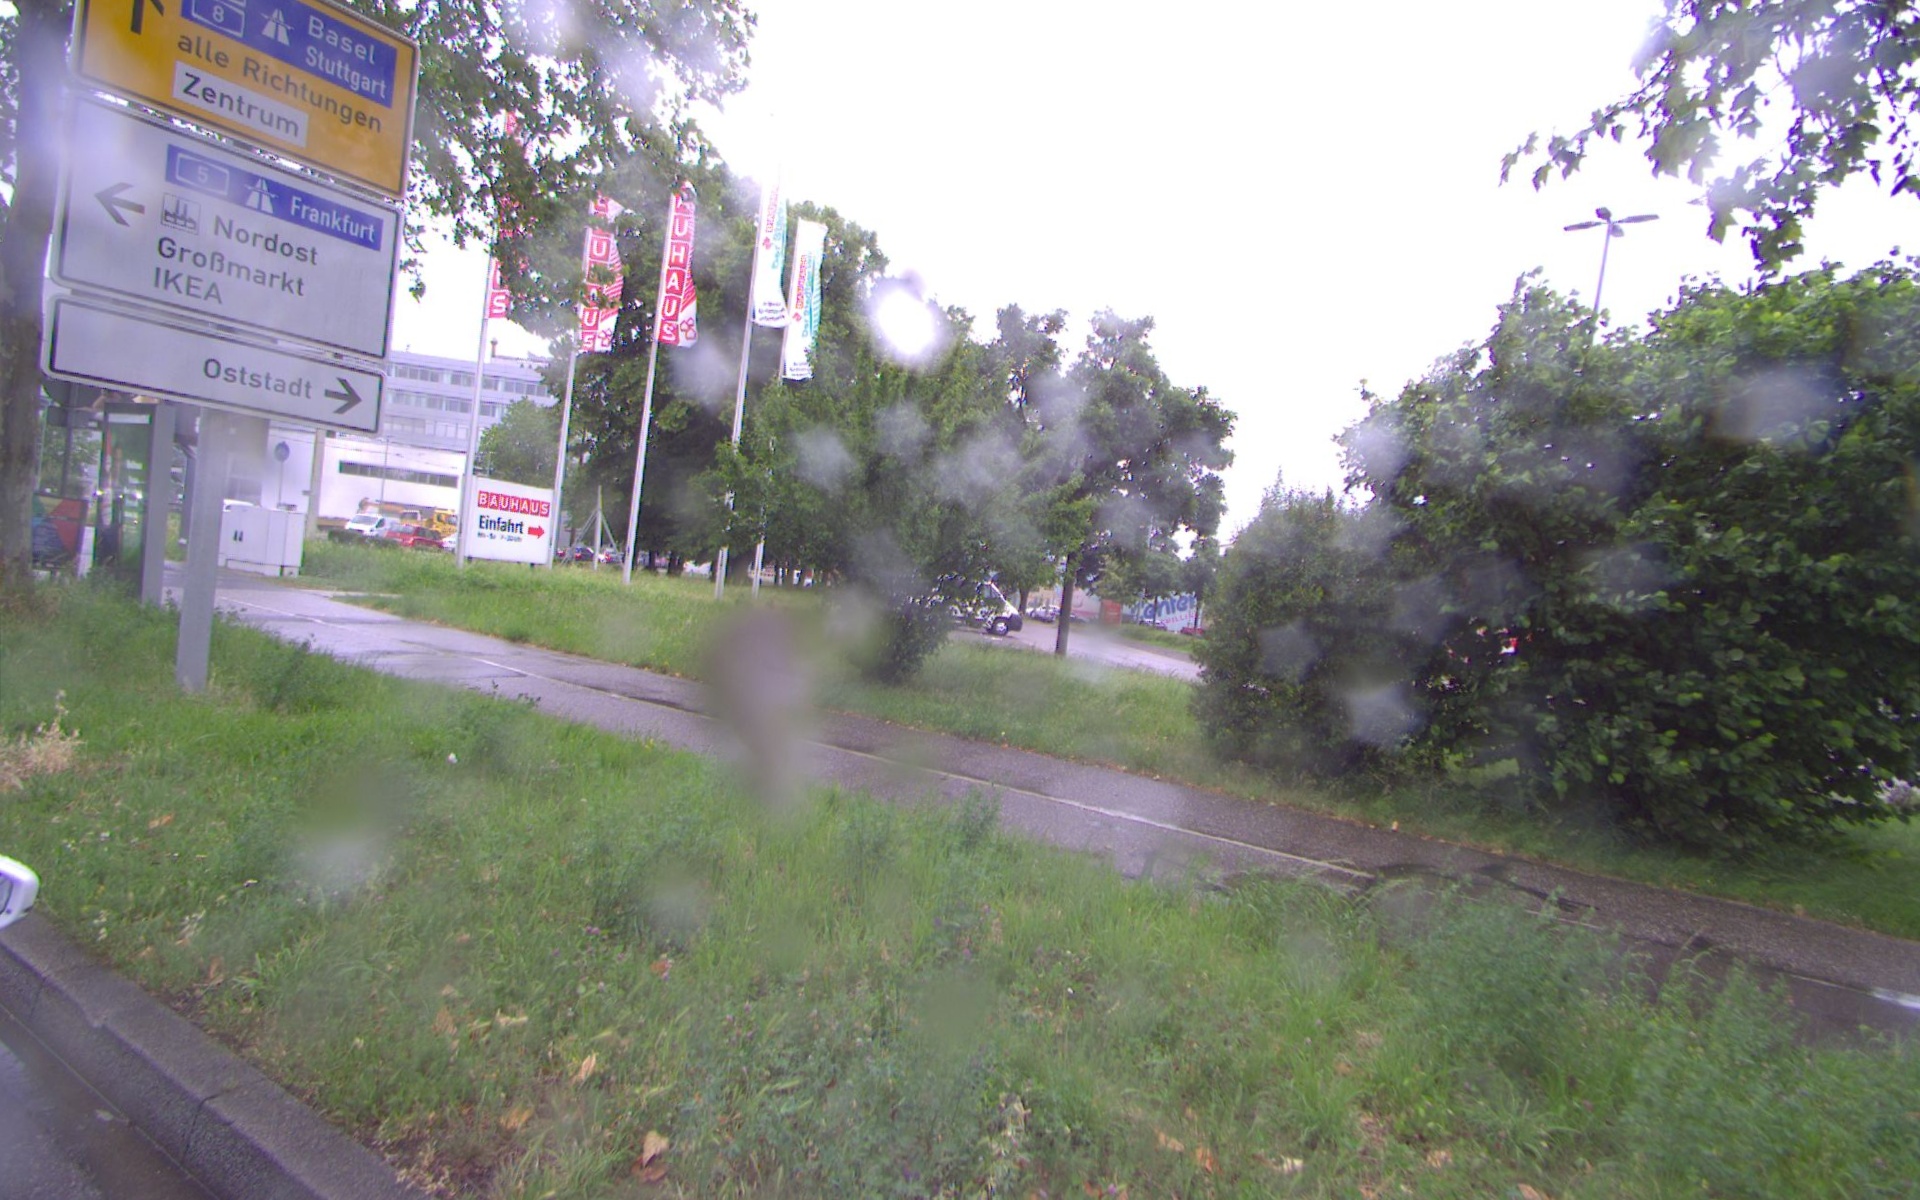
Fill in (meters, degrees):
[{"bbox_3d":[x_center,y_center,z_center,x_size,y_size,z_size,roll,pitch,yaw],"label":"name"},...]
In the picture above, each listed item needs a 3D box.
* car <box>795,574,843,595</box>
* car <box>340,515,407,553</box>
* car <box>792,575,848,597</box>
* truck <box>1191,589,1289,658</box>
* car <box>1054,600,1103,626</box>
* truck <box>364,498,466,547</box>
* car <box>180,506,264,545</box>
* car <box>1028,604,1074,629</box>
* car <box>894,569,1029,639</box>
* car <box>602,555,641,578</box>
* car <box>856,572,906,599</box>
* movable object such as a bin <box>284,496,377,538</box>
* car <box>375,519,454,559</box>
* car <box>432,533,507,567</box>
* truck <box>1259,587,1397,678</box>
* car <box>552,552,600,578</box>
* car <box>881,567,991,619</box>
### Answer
[{"bbox_3d":[-14.445,-1.614,103.162,4.552,1.606,1.922,7,0,-14],"label":"car"},{"bbox_3d":[-39.859,-4.448,68.518,1.964,2.152,4.684,6,0,-5],"label":"car"},{"bbox_3d":[-15.411,-1.584,111.072,5.853,1.754,2.276,6,1,-3],"label":"car"},{"bbox_3d":[16.523,1.331,60.275,2.507,3.511,9.397,8,0,-2],"label":"truck"},{"bbox_3d":[11.928,1.336,101.767,4.612,2.038,2.001,7,0,3],"label":"car"},{"bbox_3d":[-52.671,-7.440,97.341,7.747,3.552,3.325,7,1,-4],"label":"truck"},{"bbox_3d":[-44.519,-4.449,60.777,1.709,1.746,4.245,8,-1,1],"label":"car"},{"bbox_3d":[9.668,1.790,107.178,4.612,2.038,2.001,7,0,3],"label":"car"},{"bbox_3d":[0.023,0.154,40.920,5.015,2.232,2.188,7,1,-9],"label":"car"},{"bbox_3d":[-29.070,-2.823,86.587,1.892,1.606,4.623,6,0,-4],"label":"car"},{"bbox_3d":[-7.853,-1.446,100.595,4.670,2.241,1.964,6,1,-2],"label":"car"},{"bbox_3d":[-60.585,-7.925,97.018,6.601,3.034,3.324,7,1,-4],"label":"movable object such as a bin"},{"bbox_3d":[-27.134,-3.011,50.160,1.647,1.508,3.817,7,-1,1],"label":"car"},{"bbox_3d":[-27.738,-2.798,57.071,1.892,1.509,4.828,6,0,-2],"label":"car"},{"bbox_3d":[16.703,1.334,46.404,2.508,3.513,8.008,8,0,-4],"label":"truck"},{"bbox_3d":[-29.013,-2.597,76.124,1.892,1.606,4.622,6,0,-3],"label":"car"},{"bbox_3d":[-1.390,-0.410,57.645,5.955,2.232,2.190,7,1,-2],"label":"car"}]
